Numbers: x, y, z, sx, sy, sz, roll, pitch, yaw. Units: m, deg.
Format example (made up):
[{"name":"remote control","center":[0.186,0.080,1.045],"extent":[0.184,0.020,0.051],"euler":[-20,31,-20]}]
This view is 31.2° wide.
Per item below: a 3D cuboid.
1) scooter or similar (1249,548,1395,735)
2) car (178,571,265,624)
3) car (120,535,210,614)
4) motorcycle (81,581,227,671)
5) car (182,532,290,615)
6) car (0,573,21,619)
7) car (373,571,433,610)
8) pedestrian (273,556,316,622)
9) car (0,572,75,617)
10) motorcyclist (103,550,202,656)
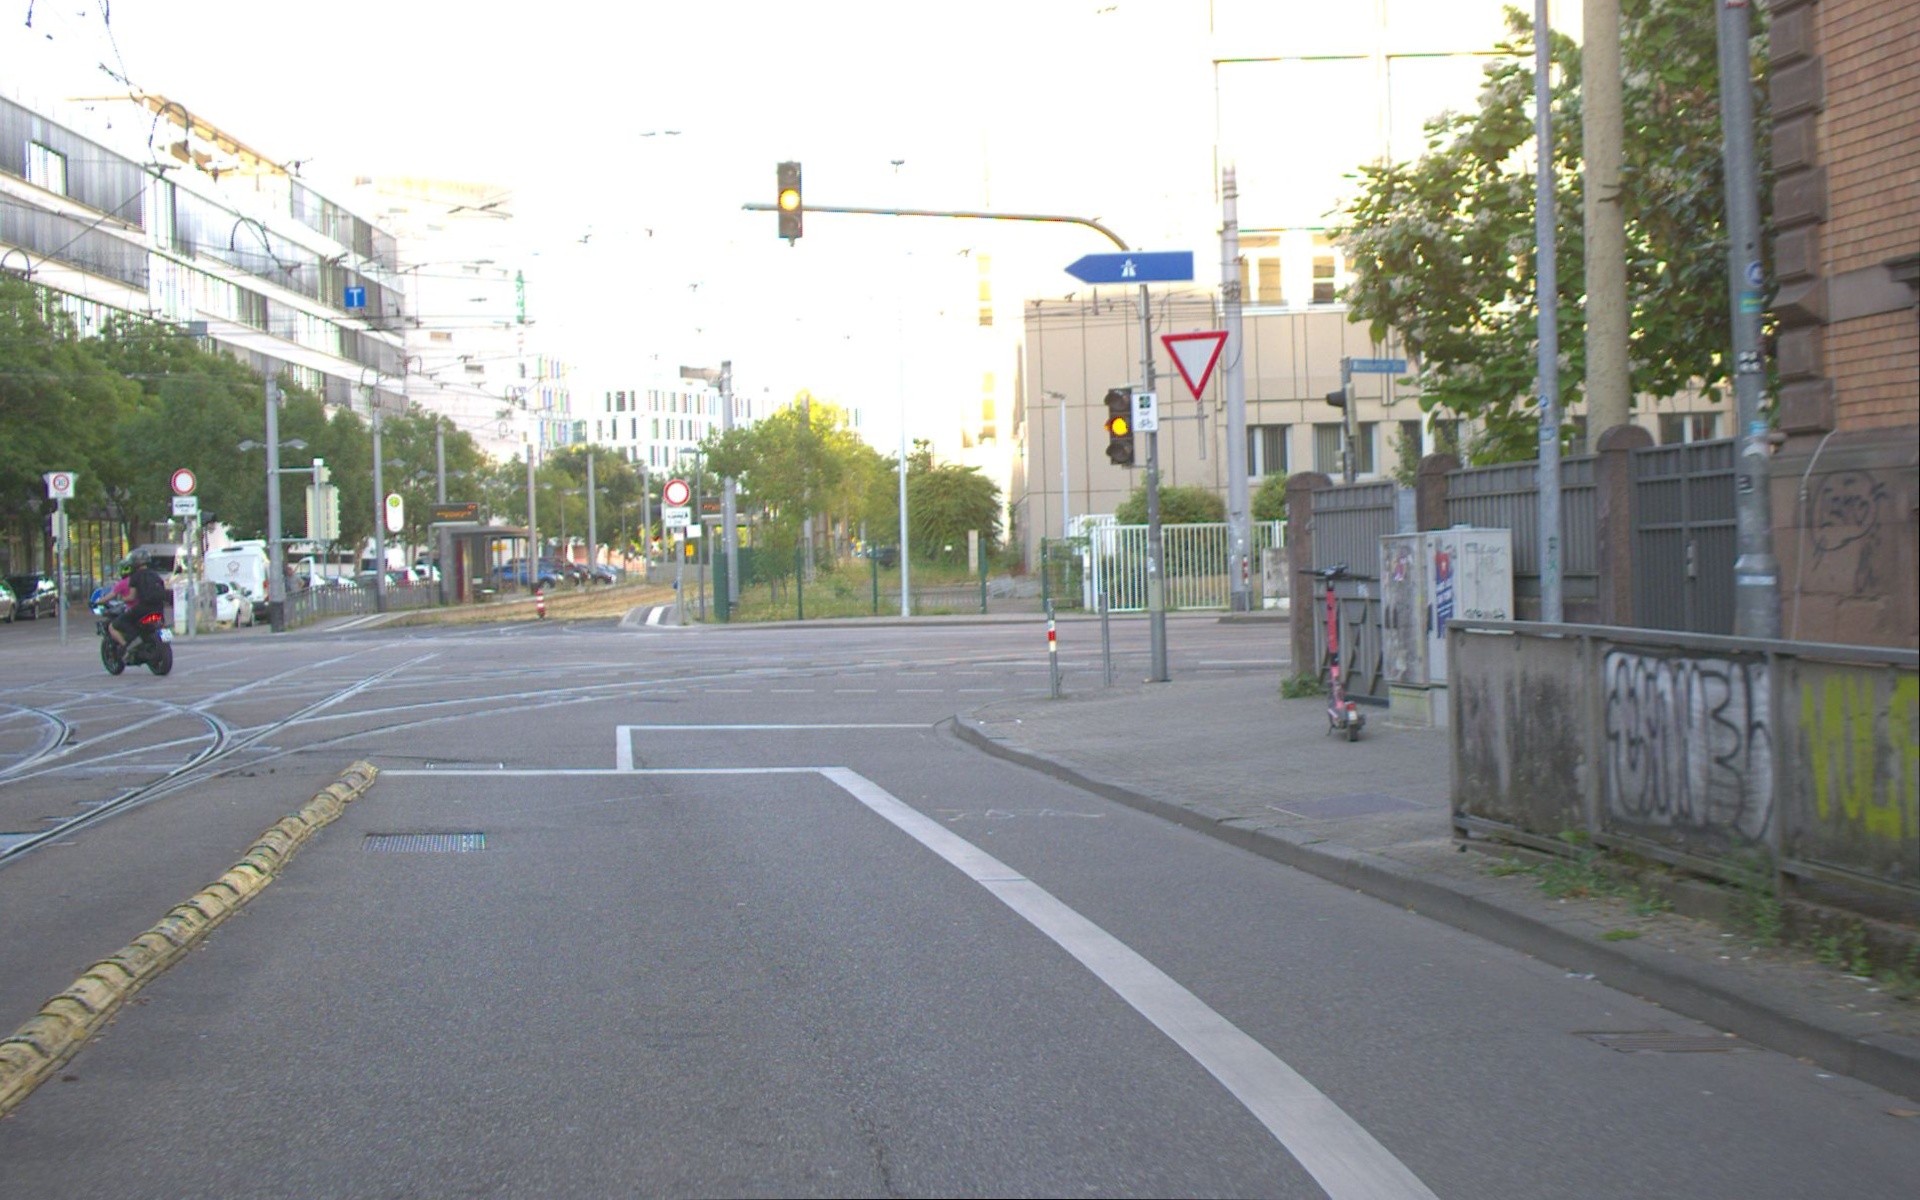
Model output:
[{"name":"scooter or similar","center":[2.576,0.277,24.614],"extent":[0.641,1.261,1.583],"euler":[-3,1,-6]},{"name":"car","center":[-21.815,-0.090,101.633],"extent":[1.682,1.434,4.126],"euler":[-2,1,0]},{"name":"car","center":[-33.053,-1.089,143.036],"extent":[2.201,3.141,6.143],"euler":[-2,1,0]},{"name":"motorcycle","center":[-11.478,0.368,48.906],"extent":[0.829,1.236,2.489],"euler":[-2,1,-44]},{"name":"car","center":[-22.601,-0.842,107.562],"extent":[2.460,2.474,5.809],"euler":[-2,1,-4]},{"name":"car","center":[-32.881,-0.099,115.032],"extent":[1.683,1.496,4.239],"euler":[-2,1,0]},{"name":"car","center":[-21.889,-0.400,135.256],"extent":[1.682,1.434,4.126],"euler":[-2,1,0]},{"name":"pedestrian","center":[-20.992,-0.346,108.466],"extent":[1.039,2.023,0.984],"euler":[-2,1,-28]},{"name":"car","center":[-32.690,-0.217,121.416],"extent":[1.683,1.496,4.239],"euler":[-2,1,0]},{"name":"motorcyclist","center":[-11.499,0.038,48.924],"extent":[0.829,1.468,1.206],"euler":[-2,1,-44]}]
